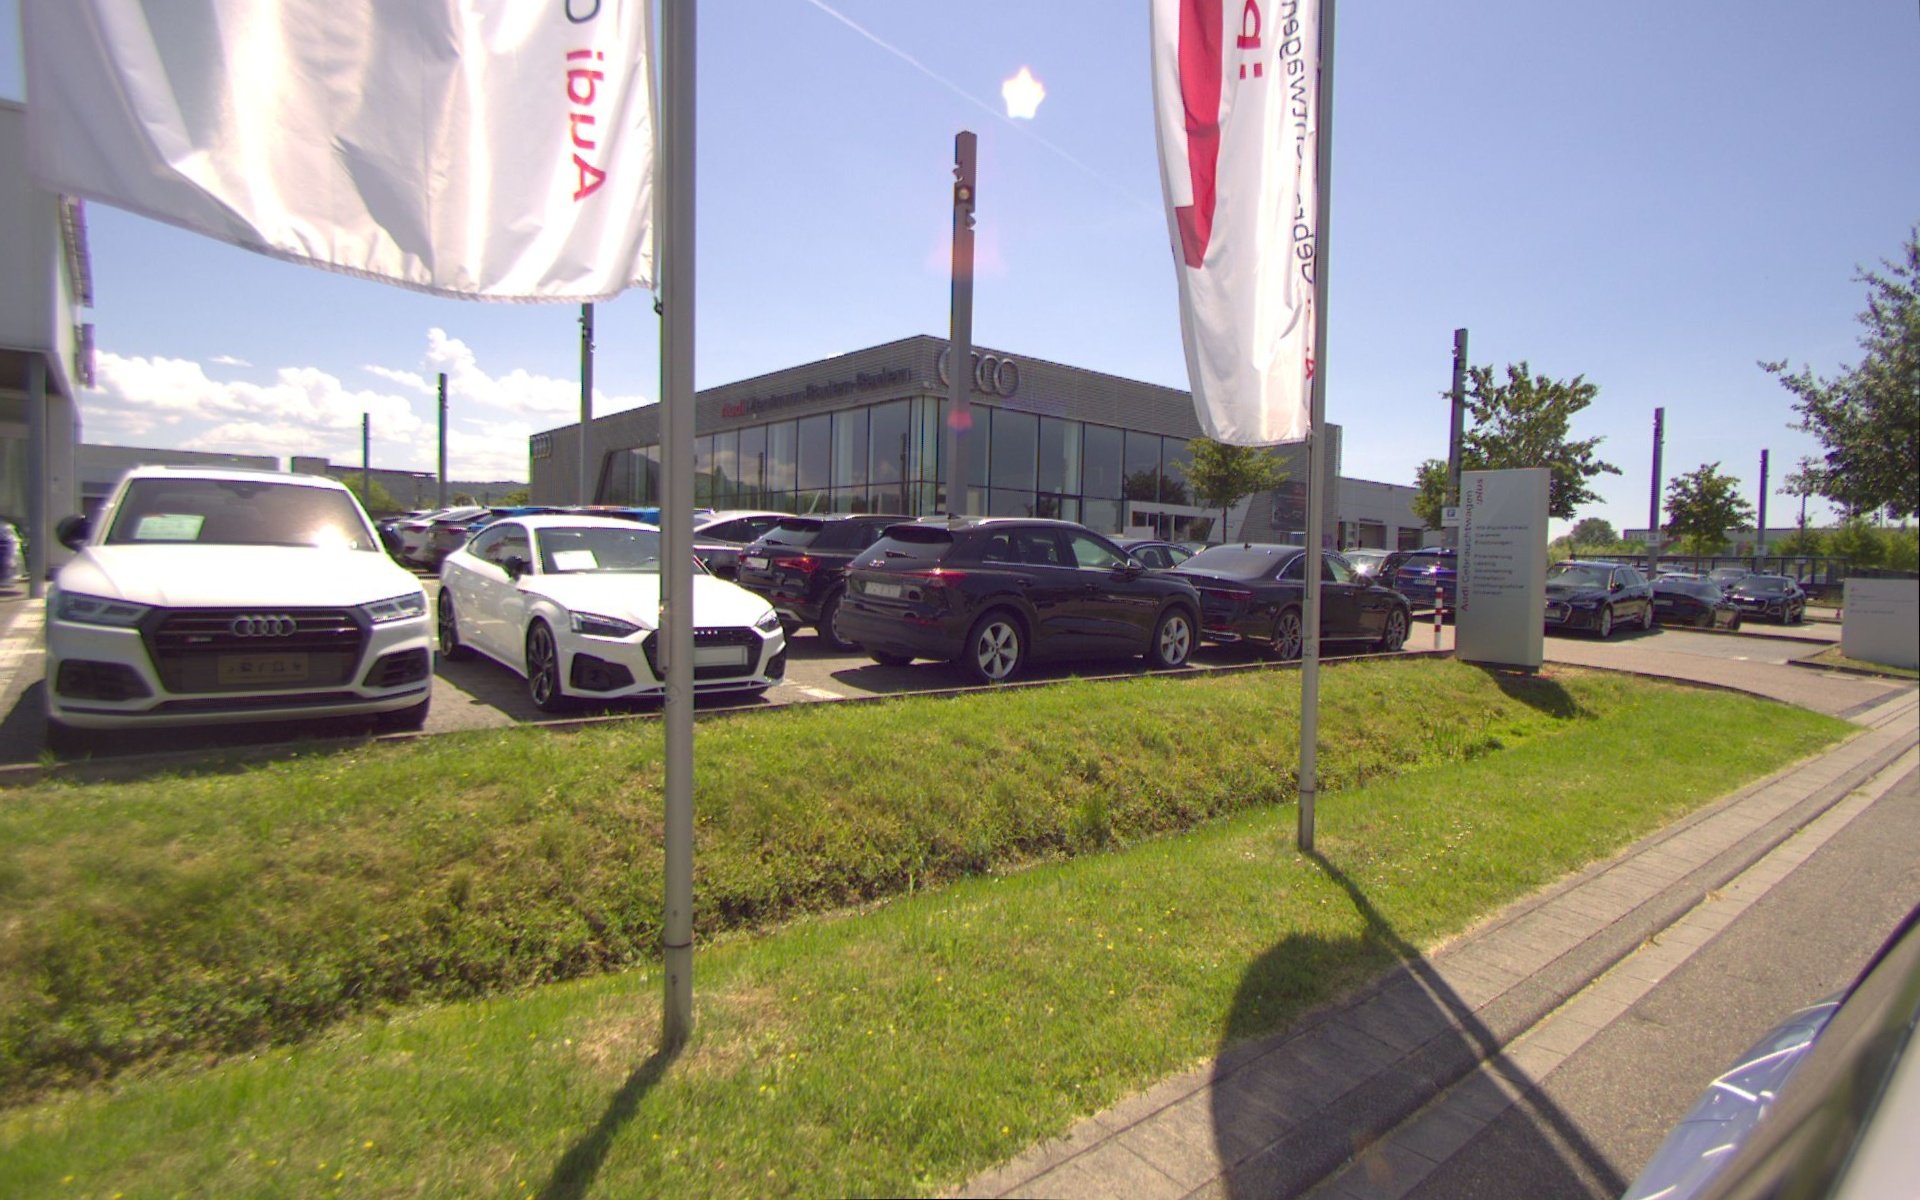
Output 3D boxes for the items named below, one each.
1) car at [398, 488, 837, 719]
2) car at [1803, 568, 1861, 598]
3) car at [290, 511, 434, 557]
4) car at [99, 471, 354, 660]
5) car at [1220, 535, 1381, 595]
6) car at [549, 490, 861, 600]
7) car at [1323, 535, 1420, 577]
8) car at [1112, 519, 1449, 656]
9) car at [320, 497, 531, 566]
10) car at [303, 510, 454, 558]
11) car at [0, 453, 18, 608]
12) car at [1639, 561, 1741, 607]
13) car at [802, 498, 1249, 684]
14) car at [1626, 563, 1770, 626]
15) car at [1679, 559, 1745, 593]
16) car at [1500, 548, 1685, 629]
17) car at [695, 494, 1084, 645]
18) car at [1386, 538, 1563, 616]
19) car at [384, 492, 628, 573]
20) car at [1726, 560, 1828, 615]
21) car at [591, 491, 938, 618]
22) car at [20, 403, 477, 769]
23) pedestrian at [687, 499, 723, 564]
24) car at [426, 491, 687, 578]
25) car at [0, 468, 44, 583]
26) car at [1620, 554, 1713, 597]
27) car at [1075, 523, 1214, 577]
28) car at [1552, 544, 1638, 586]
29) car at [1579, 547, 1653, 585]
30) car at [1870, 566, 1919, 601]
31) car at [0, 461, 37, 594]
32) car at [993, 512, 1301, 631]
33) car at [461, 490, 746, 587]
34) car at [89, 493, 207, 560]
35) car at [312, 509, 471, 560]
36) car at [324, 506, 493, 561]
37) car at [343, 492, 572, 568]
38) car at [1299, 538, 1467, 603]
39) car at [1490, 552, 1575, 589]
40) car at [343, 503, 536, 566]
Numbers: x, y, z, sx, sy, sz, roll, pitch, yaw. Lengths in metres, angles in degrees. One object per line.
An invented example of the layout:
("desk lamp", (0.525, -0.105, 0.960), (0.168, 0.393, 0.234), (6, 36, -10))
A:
("car", (-3.209, -0.154, 8.819), (1.997, 1.474, 4.538), (0, 5, -42))
("car", (51.990, -1.021, 60.297), (4.547, 1.649, 1.966), (-1, 5, -42))
("car", (-23.782, -2.605, 40.330), (4.695, 1.609, 2.030), (0, 4, -40))
("car", (-8.516, -0.487, 11.557), (1.996, 1.713, 4.539), (0, 4, -41))
("car", (9.521, -1.023, 28.110), (4.900, 1.473, 1.966), (-3, 6, -41))
("car", (-4.211, -0.896, 17.155), (4.695, 1.609, 2.030), (0, 4, -40))
("car", (18.087, -1.914, 44.393), (4.347, 1.610, 1.968), (0, 6, -39))
("car", (4.658, -0.221, 14.273), (5.147, 1.532, 2.031), (0, 6, -40))
("car", (-14.249, -1.809, 27.111), (4.695, 1.609, 2.030), (0, 4, -40))
("car", (-21.984, -2.479, 38.333), (4.695, 1.609, 2.030), (0, 4, -40))
("car", (-12.849, -0.810, 10.228), (4.722, 1.699, 2.031), (0, 4, -39))
("car", (25.665, -0.576, 35.542), (4.155, 1.382, 1.966), (-1, 6, -42))
("car", (0.866, -0.162, 10.936), (4.695, 1.592, 2.030), (0, 4, -40))
("car", (19.486, -0.122, 26.653), (4.637, 1.382, 1.967), (1, 5, -41))
("car", (41.079, -1.300, 55.250), (4.547, 1.649, 1.966), (-1, 5, -42))
("car", (13.696, -0.337, 21.808), (4.900, 1.473, 1.966), (-3, 6, -41))
("car", (-0.771, -0.409, 13.074), (4.695, 1.609, 2.030), (0, 4, -40))
("car", (12.261, -0.632, 23.991), (4.900, 1.616, 1.966), (-3, 6, -41))
("car", (-10.246, -1.503, 23.029), (4.695, 1.609, 2.030), (0, 4, -40))
("car", (27.225, -0.429, 33.674), (4.155, 1.589, 1.892), (0, 6, -42))
("car", (-2.806, -0.665, 15.143), (4.695, 1.609, 2.030), (0, 4, -40))
("car", (-5.149, -0.237, 7.085), (1.997, 1.713, 4.538), (0, 4, -42))
("pedestrian", (-6.954, -1.862, 27.642), (0.626, 1.716, 0.711), (3, 0, -41))
("car", (-8.414, -1.339, 21.344), (4.696, 1.609, 2.029), (-1, 4, -41))
("car", (-16.200, -1.148, 14.275), (4.722, 1.674, 2.031), (0, 4, -39))
("car", (29.094, -0.993, 41.626), (4.919, 1.571, 1.966), (-1, 5, -42))
("car", (6.276, -1.725, 34.174), (4.900, 1.639, 1.966), (-3, 6, -41))
("car", (27.352, -1.482, 43.526), (4.215, 1.632, 1.966), (0, 5, -42))
("car", (34.144, -1.752, 52.644), (4.547, 1.762, 1.966), (0, 6, -42))
("car", (46.355, -0.829, 49.713), (4.860, 1.546, 1.823), (-1, 5, -42))
("car", (-14.466, -0.984, 12.258), (4.722, 1.674, 2.031), (0, 4, -39))
("car", (3.202, -0.474, 16.544), (5.379, 1.591, 1.902), (0, 6, -40))
("car", (-6.668, -1.126, 19.208), (4.695, 1.609, 2.030), (0, 4, -40))
("car", (-19.675, -1.701, 24.449), (1.997, 1.432, 4.535), (-1, 2, -42))
("car", (-20.342, -2.332, 36.312), (4.695, 1.609, 2.030), (0, 4, -40))
("car", (-18.454, -2.203, 33.968), (4.695, 1.609, 2.030), (0, 4, -40))
("car", (-12.286, -1.687, 24.895), (4.695, 1.609, 2.030), (0, 4, -40))
("car", (10.948, -0.829, 26.059), (4.900, 1.473, 1.966), (-3, 6, -41))
("car", (25.791, -1.318, 45.525), (4.297, 1.494, 1.966), (-1, 5, -42))
("car", (-15.189, -1.900, 29.679), (4.695, 1.609, 2.030), (0, 4, -40))
